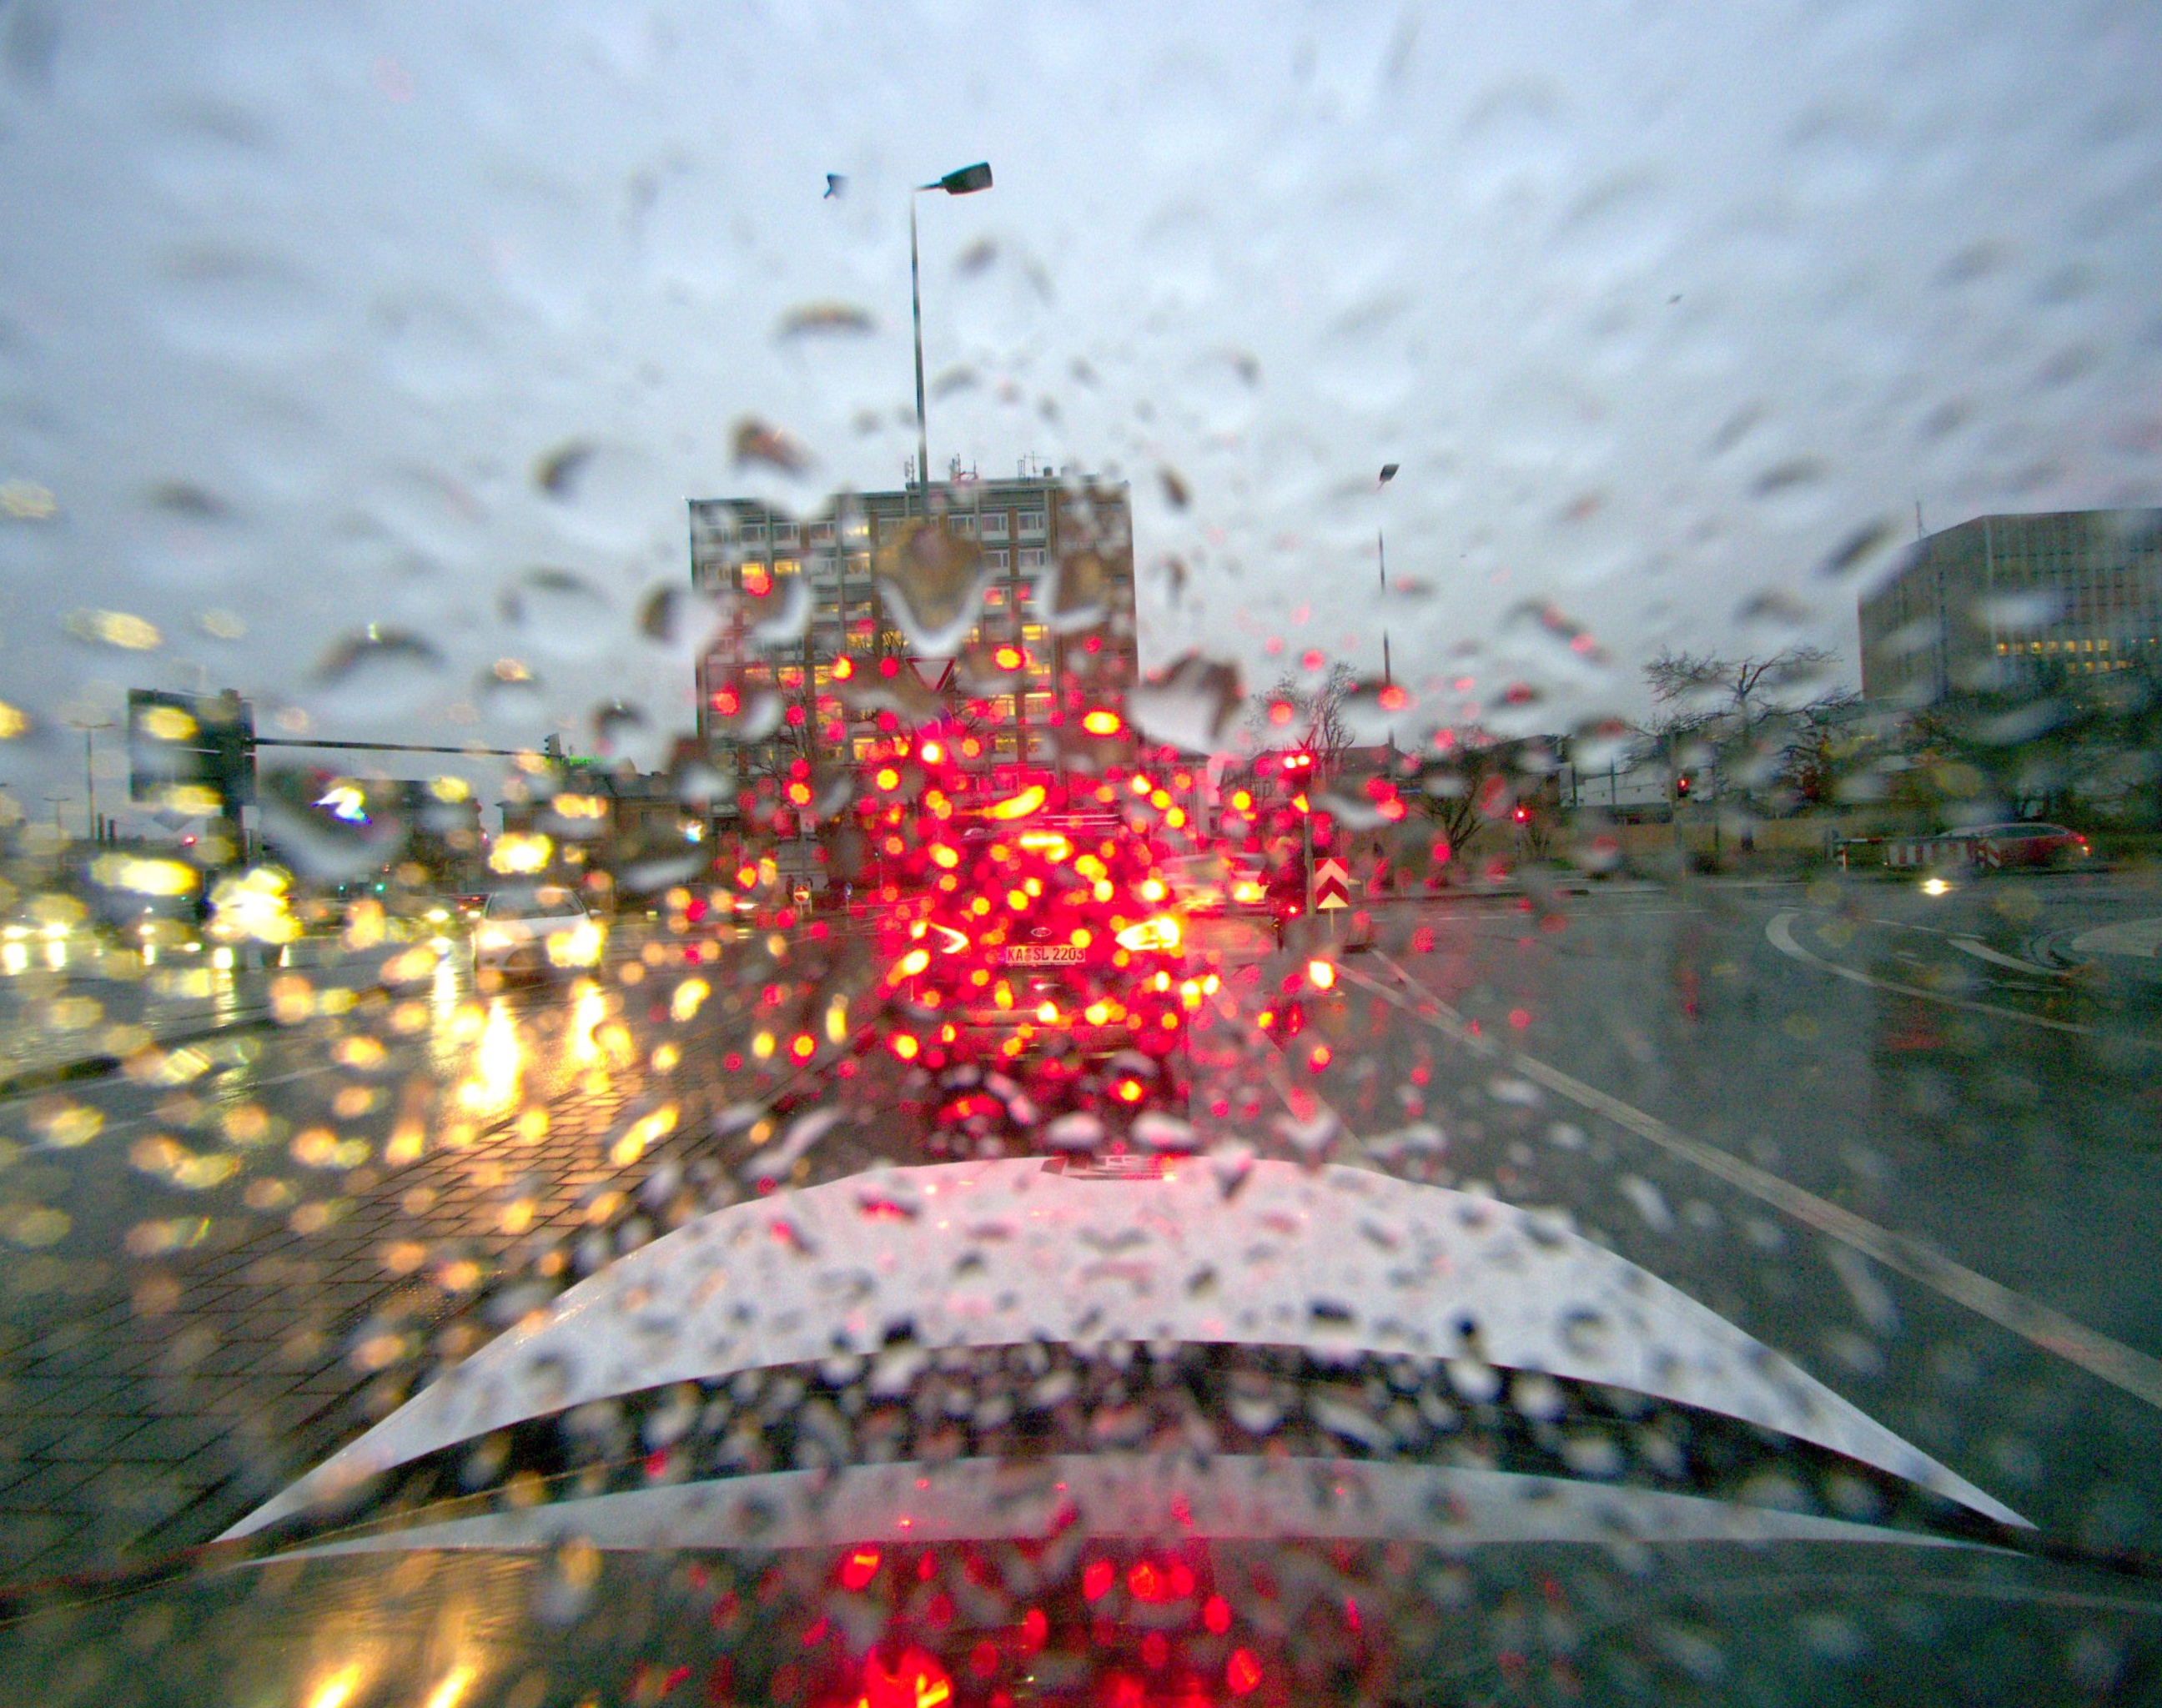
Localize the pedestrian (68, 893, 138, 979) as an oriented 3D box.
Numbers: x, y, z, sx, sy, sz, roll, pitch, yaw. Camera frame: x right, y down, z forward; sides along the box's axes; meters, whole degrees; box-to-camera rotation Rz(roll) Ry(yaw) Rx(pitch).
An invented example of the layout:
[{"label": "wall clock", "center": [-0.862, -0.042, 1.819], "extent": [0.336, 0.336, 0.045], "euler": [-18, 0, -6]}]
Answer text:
[{"label": "pedestrian", "center": [-21.455, 1.781, 17.880], "extent": [0.741, 1.770, 0.546], "euler": [-3, 0, -12]}]

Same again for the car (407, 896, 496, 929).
[{"label": "car", "center": [-33.262, 3.058, 43.052], "extent": [3.954, 1.568, 1.836], "euler": [-1, -1, 20]}]

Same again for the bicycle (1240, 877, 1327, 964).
[{"label": "bicycle", "center": [2.792, 0.880, 11.436], "extent": [0.780, 1.075, 1.958], "euler": [0, -1, 2]}]

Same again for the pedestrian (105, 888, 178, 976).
[{"label": "pedestrian", "center": [-20.769, 1.708, 18.017], "extent": [0.733, 1.838, 0.674], "euler": [-3, 0, -11]}]

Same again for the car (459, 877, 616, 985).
[{"label": "car", "center": [-9.375, 1.257, 13.924], "extent": [1.755, 1.448, 3.669], "euler": [-4, -1, -40]}]

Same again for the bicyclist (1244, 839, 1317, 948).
[{"label": "bicyclist", "center": [2.786, 0.533, 11.477], "extent": [0.780, 1.453, 1.134], "euler": [0, -1, 2]}]

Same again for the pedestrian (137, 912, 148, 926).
[{"label": "pedestrian", "center": [-147.948, 10.255, 128.345], "extent": [0.908, 2.013, 0.986], "euler": [-3, 0, 42]}]

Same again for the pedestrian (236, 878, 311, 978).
[{"label": "pedestrian", "center": [-17.301, 1.553, 17.480], "extent": [0.996, 2.021, 0.792], "euler": [-3, 0, -39]}]

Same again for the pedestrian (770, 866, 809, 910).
[{"label": "pedestrian", "center": [-13.296, 1.543, 37.151], "extent": [0.992, 1.842, 1.146], "euler": [-3, 2, 24]}]

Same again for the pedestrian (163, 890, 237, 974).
[{"label": "pedestrian", "center": [-19.544, 1.708, 18.074], "extent": [0.653, 1.755, 0.856], "euler": [-3, 0, 18]}]

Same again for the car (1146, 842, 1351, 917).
[{"label": "car", "center": [4.113, 0.619, 20.178], "extent": [4.652, 1.552, 1.945], "euler": [-3, -1, 12]}]

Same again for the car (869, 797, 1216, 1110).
[{"label": "car", "center": [-0.164, 0.591, 6.688], "extent": [1.986, 1.789, 4.001], "euler": [0, -1, 2]}]

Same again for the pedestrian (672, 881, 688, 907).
[{"label": "pedestrian", "center": [-27.004, 2.663, 54.851], "extent": [0.634, 1.688, 0.640], "euler": [-3, 0, 18]}]

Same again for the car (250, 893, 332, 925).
[{"label": "car", "center": [-51.159, 3.535, 52.772], "extent": [1.649, 1.826, 3.609], "euler": [-1, -1, 39]}]

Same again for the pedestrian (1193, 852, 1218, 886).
[{"label": "pedestrian", "center": [6.576, 0.780, 42.981], "extent": [1.127, 1.720, 0.984], "euler": [-3, 0, 12]}]

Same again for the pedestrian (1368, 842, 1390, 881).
[{"label": "pedestrian", "center": [16.784, 0.409, 45.881], "extent": [0.878, 2.113, 0.897], "euler": [-3, 0, 5]}]

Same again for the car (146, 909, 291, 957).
[{"label": "car", "center": [-31.844, 2.908, 30.080], "extent": [4.541, 1.477, 1.819], "euler": [-3, -1, 17]}]

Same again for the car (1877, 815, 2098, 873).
[{"label": "car", "center": [27.551, -0.265, 24.890], "extent": [4.390, 1.477, 1.814], "euler": [-3, -1, 6]}]

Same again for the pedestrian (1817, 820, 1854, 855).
[{"label": "pedestrian", "center": [36.549, -0.799, 39.451], "extent": [0.958, 1.603, 0.795], "euler": [-3, 0, 2]}]

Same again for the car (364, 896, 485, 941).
[{"label": "car", "center": [-24.946, 2.458, 30.968], "extent": [3.921, 1.477, 1.821], "euler": [-3, -1, 21]}]

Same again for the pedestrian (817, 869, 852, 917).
[{"label": "pedestrian", "center": [-10.608, 1.657, 35.034], "extent": [0.919, 1.978, 0.965], "euler": [-3, 0, 23]}]

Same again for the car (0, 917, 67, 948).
[{"label": "car", "center": [-56.983, 4.243, 43.996], "extent": [4.612, 1.477, 1.822], "euler": [-3, -1, 27]}]

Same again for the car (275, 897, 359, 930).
[{"label": "car", "center": [-40.193, 3.110, 42.852], "extent": [3.951, 1.568, 1.837], "euler": [-1, -1, 24]}]

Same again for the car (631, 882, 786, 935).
[{"label": "car", "center": [-12.299, 1.798, 26.941], "extent": [4.541, 1.477, 1.819], "euler": [-3, -1, 17]}]
